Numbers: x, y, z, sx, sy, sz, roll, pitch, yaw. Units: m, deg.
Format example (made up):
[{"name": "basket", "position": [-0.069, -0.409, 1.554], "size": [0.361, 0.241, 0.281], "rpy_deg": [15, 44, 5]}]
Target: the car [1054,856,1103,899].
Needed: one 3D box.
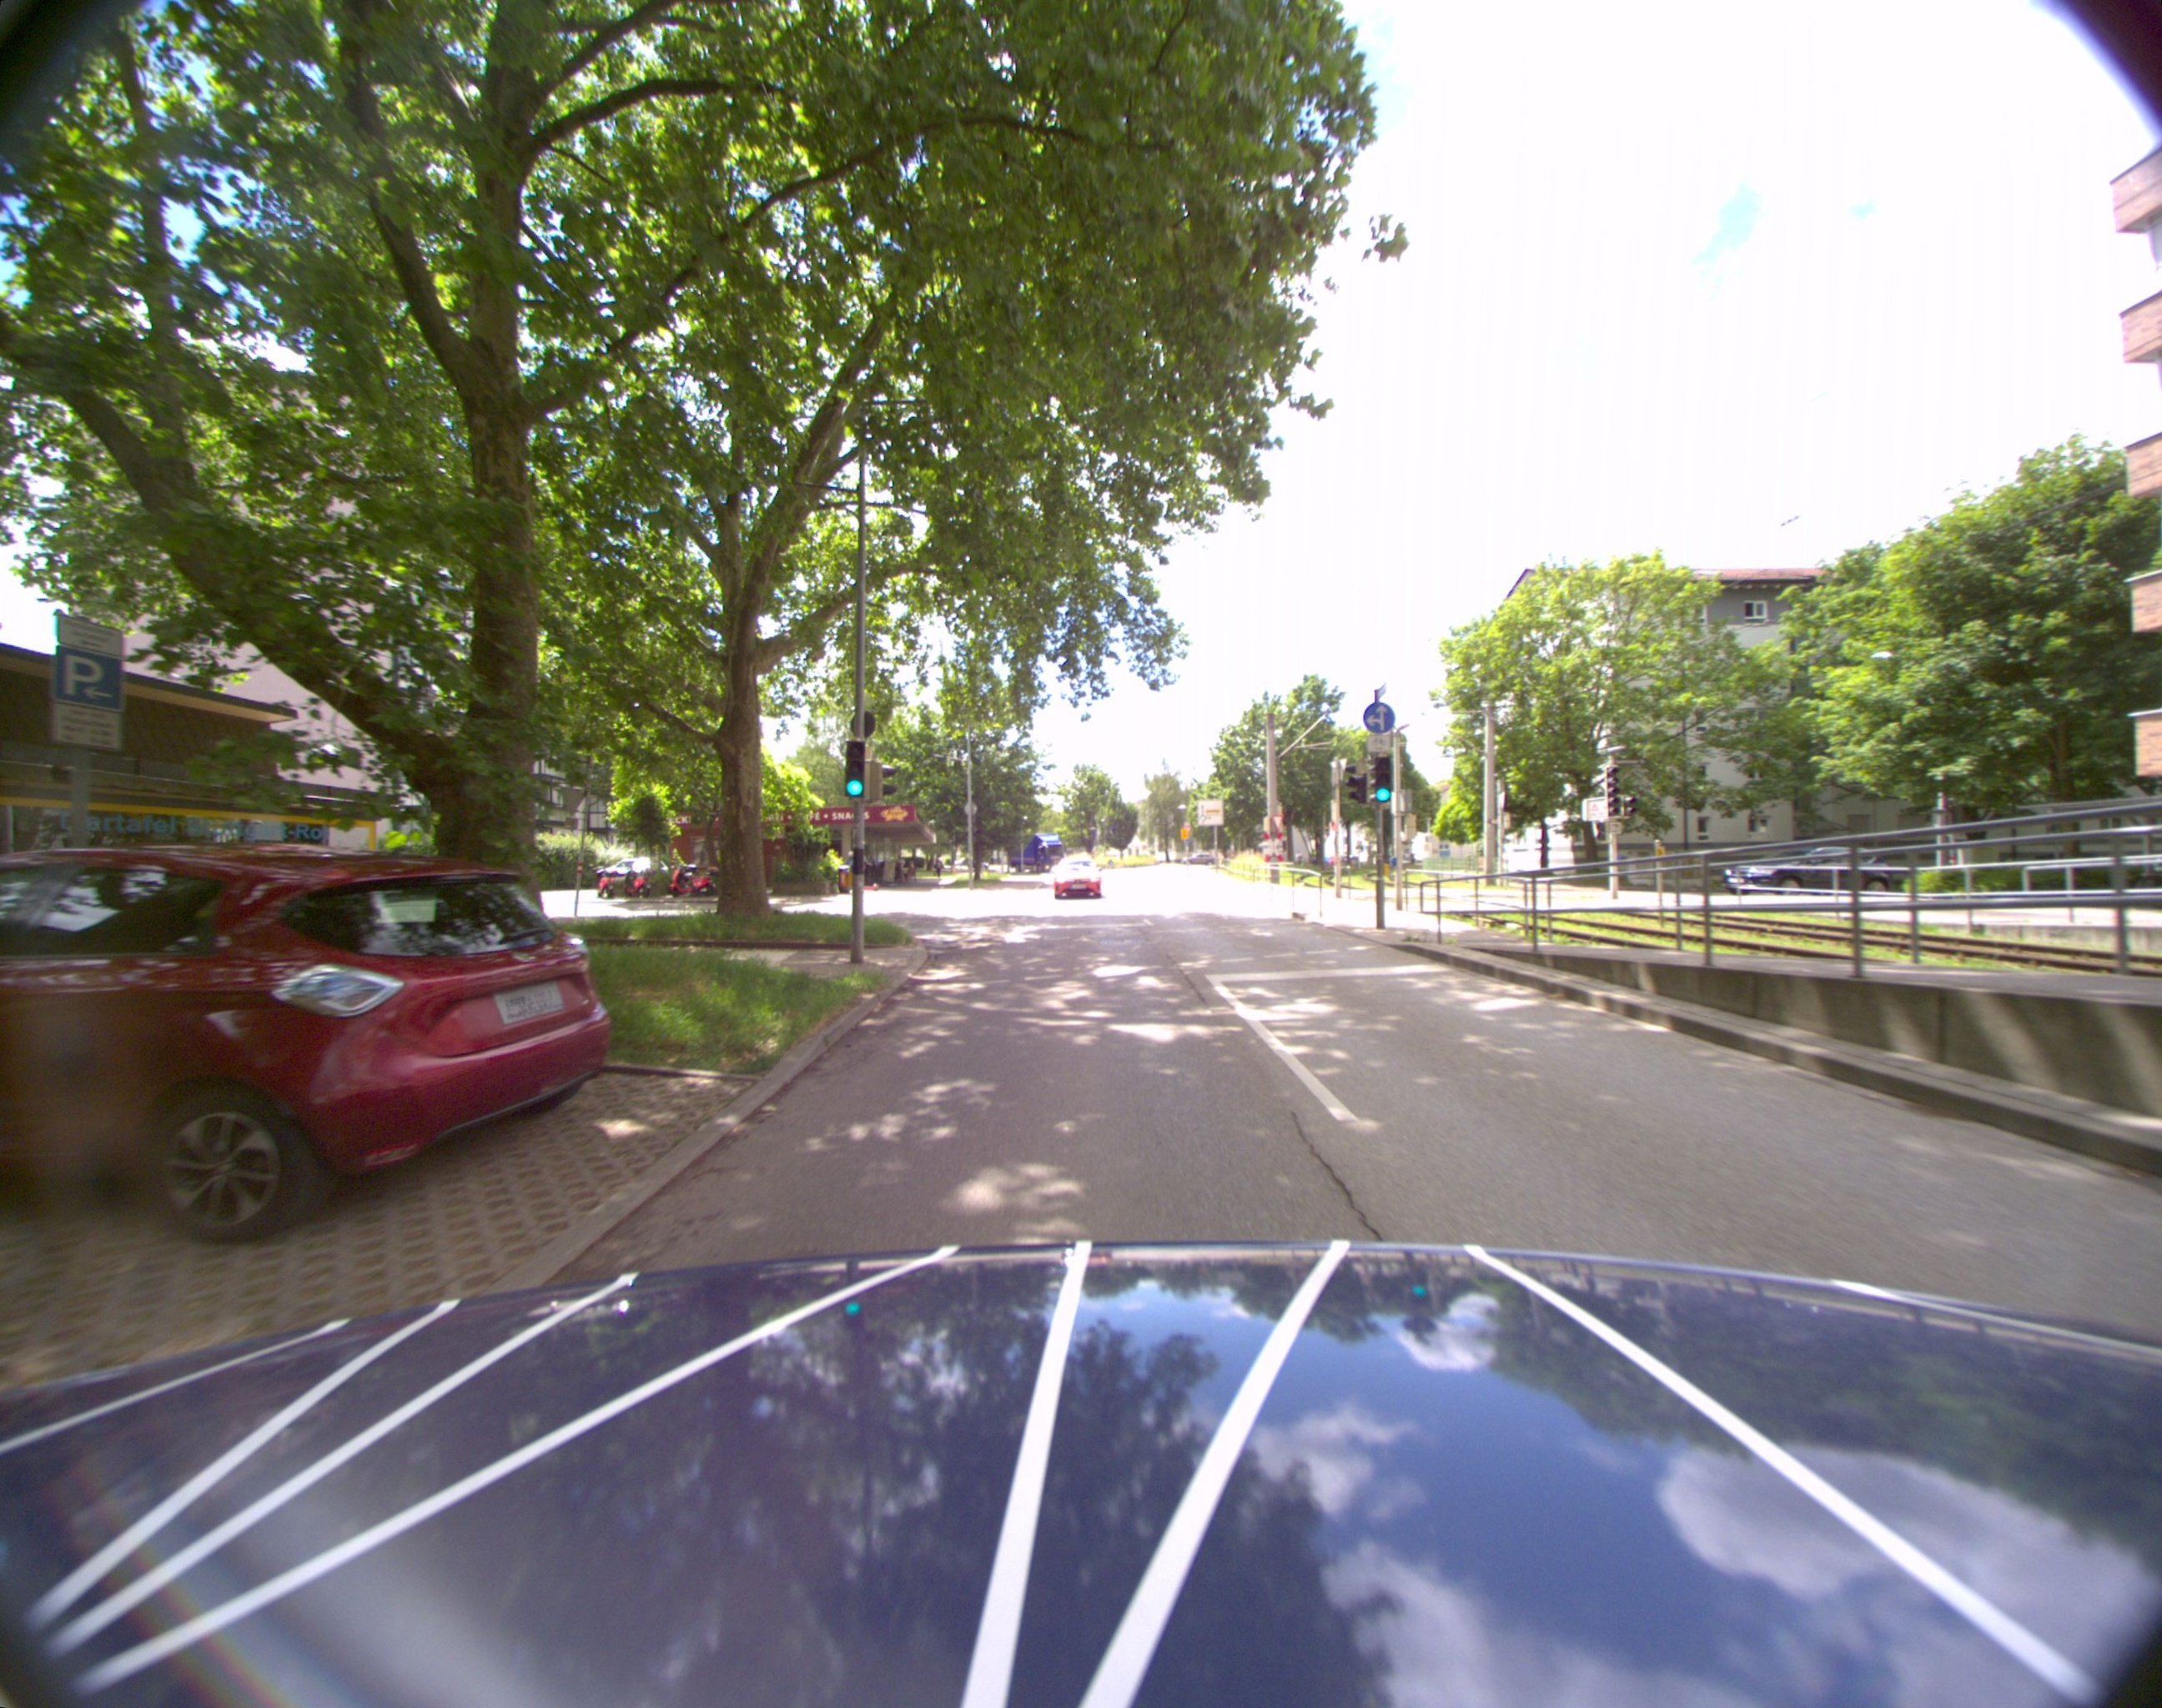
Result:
[{"name": "car", "position": [-0.101, 0.852, 29.092], "size": [1.712, 1.439, 3.670], "rpy_deg": [-2, 0, 0]}]

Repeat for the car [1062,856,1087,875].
[{"name": "car", "position": [-0.568, 0.889, 61.492], "size": [1.761, 1.514, 3.823], "rpy_deg": [-1, 0, -4]}]

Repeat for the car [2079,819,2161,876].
[{"name": "car", "position": [28.493, -0.175, 19.576], "size": [3.540, 1.391, 1.594], "rpy_deg": [-1, 0, -1]}]

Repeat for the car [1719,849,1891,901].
[{"name": "car", "position": [22.310, 0.618, 23.519], "size": [3.680, 1.468, 1.588], "rpy_deg": [1, 0, 3]}]

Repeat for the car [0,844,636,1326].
[{"name": "car", "position": [-4.702, 0.819, 3.708], "size": [4.038, 1.602, 1.731], "rpy_deg": [2, 0, 4]}]

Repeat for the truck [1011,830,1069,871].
[{"name": "truck", "position": [-4.475, -0.338, 80.169], "size": [2.635, 4.069, 9.588], "rpy_deg": [-1, 0, -26]}]

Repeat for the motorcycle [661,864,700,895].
[{"name": "motorcycle", "position": [-15.998, 1.010, 30.316], "size": [2.132, 1.188, 0.741], "rpy_deg": [0, 0, 45]}]

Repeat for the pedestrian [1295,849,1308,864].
[{"name": "pedestrian", "position": [24.144, 0.270, 83.239], "size": [0.877, 1.655, 1.020], "rpy_deg": [-1, 0, -25]}]

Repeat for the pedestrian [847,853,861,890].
[{"name": "pedestrian", "position": [-9.958, 0.758, 33.378], "size": [0.444, 1.623, 0.399], "rpy_deg": [-1, 1, -40]}]

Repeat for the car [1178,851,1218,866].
[{"name": "car", "position": [14.349, 0.581, 93.414], "size": [4.615, 1.786, 2.000], "rpy_deg": [0, 0, 1]}]

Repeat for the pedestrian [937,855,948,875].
[{"name": "pedestrian", "position": [-10.516, 0.853, 57.682], "size": [0.726, 1.529, 0.654], "rpy_deg": [-1, 0, -3]}]

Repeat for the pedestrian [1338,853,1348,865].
[{"name": "pedestrian", "position": [34.415, 0.645, 99.861], "size": [1.022, 1.655, 0.875], "rpy_deg": [-1, 0, -5]}]

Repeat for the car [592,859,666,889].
[{"name": "car", "position": [-21.551, 0.944, 36.371], "size": [1.749, 1.334, 3.487], "rpy_deg": [-1, 0, -6]}]

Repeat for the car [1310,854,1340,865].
[{"name": "car", "position": [33.231, 0.756, 103.517], "size": [1.811, 1.514, 4.116], "rpy_deg": [-1, 0, -21]}]

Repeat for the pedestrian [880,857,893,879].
[{"name": "pedestrian", "position": [-11.543, 0.836, 45.141], "size": [0.674, 1.259, 0.677], "rpy_deg": [1, 1, -9]}]

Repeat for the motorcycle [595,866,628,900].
[{"name": "motorcycle", "position": [-17.334, 1.051, 28.041], "size": [0.741, 1.188, 2.132], "rpy_deg": [-1, 1, -39]}]

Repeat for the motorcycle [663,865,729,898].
[{"name": "motorcycle", "position": [-14.176, 0.995, 27.996], "size": [2.135, 1.188, 0.740], "rpy_deg": [0, 0, 10]}]

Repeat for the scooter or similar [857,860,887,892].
[{"name": "scooter or similar", "position": [-8.571, 0.897, 31.181], "size": [0.376, 1.300, 1.234], "rpy_deg": [0, 1, 33]}]

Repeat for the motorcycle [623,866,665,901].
[{"name": "motorcycle", "position": [-16.095, 1.056, 27.967], "size": [2.132, 1.188, 0.741], "rpy_deg": [0, 1, 43]}]

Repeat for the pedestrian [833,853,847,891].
[{"name": "pedestrian", "position": [-10.514, 0.767, 33.121], "size": [0.444, 1.623, 0.399], "rpy_deg": [-1, 1, -40]}]

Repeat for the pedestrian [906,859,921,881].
[{"name": "pedestrian", "position": [-9.837, 0.927, 44.596], "size": [0.677, 1.259, 0.674], "rpy_deg": [0, 0, 5]}]

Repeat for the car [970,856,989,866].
[{"name": "car", "position": [-14.244, 1.029, 106.497], "size": [1.811, 1.346, 3.993], "rpy_deg": [-1, 0, -20]}]

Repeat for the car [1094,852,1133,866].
[{"name": "car", "position": [4.126, 0.666, 96.640], "size": [4.605, 1.786, 2.004], "rpy_deg": [0, 0, 41]}]

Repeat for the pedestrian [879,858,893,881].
[{"name": "pedestrian", "position": [-11.260, 0.889, 43.978], "size": [0.677, 1.259, 0.673], "rpy_deg": [1, 1, -7]}]

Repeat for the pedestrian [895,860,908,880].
[{"name": "pedestrian", "position": [-10.693, 0.934, 45.253], "size": [0.674, 1.145, 0.677], "rpy_deg": [1, 1, -9]}]
